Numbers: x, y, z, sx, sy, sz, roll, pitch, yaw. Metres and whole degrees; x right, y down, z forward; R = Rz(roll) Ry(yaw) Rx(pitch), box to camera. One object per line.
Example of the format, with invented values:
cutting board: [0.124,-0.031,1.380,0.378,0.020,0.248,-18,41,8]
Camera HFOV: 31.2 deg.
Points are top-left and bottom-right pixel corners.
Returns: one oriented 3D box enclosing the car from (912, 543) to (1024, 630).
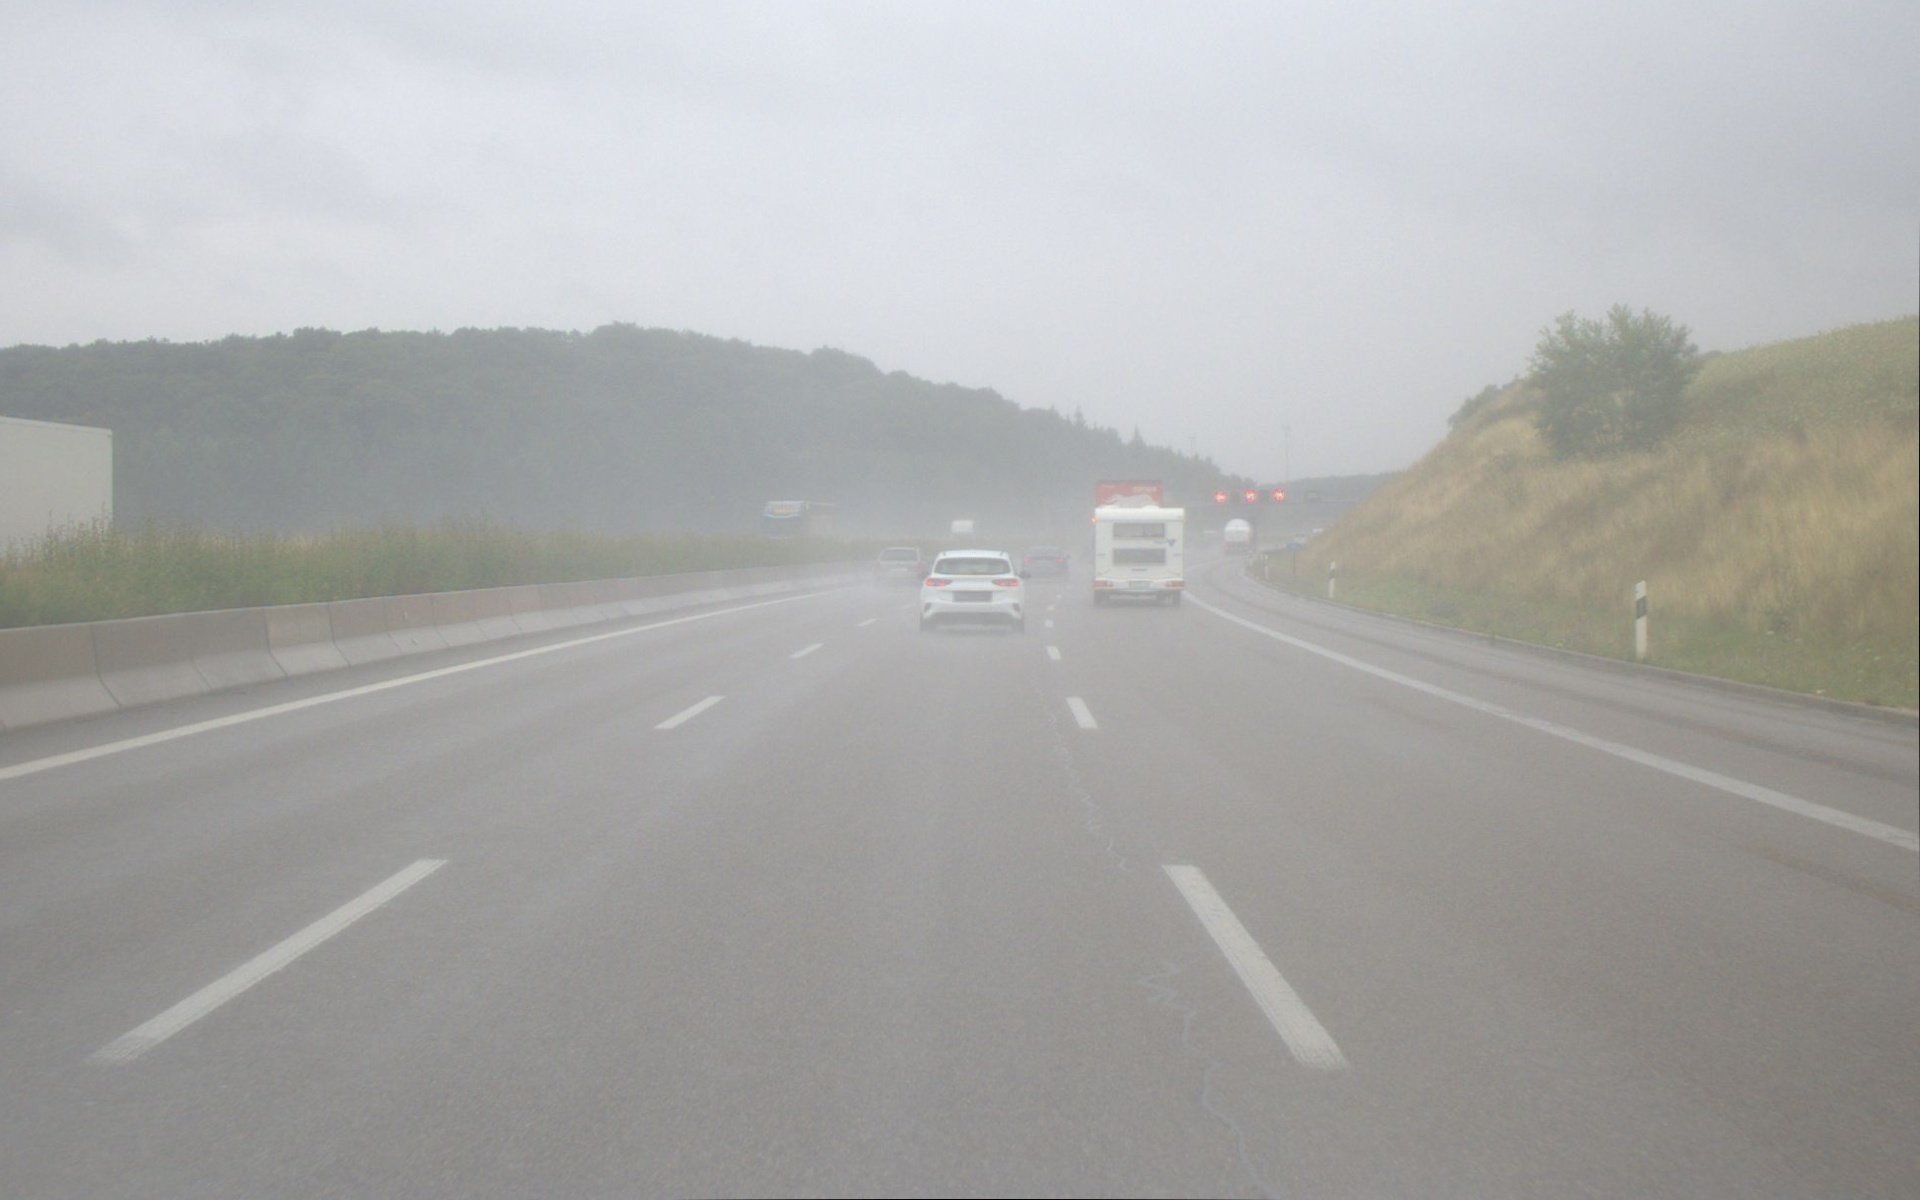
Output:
car: [0.165,-0.240,59.965,1.867,1.458,4.000,0,0,1]

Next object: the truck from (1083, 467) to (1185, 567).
truck: [6.917,-3.308,135.308,3.528,3.730,11.424,1,2,5]

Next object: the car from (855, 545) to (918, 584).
car: [-2.354,-1.128,109.244,1.823,1.152,4.213,1,0,-4]

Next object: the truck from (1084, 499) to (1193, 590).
truck: [4.501,-1.404,87.340,2.407,2.244,4.693,0,1,-1]

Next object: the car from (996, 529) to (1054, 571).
car: [2.562,-1.990,136.268,1.993,1.612,4.001,0,1,-3]
